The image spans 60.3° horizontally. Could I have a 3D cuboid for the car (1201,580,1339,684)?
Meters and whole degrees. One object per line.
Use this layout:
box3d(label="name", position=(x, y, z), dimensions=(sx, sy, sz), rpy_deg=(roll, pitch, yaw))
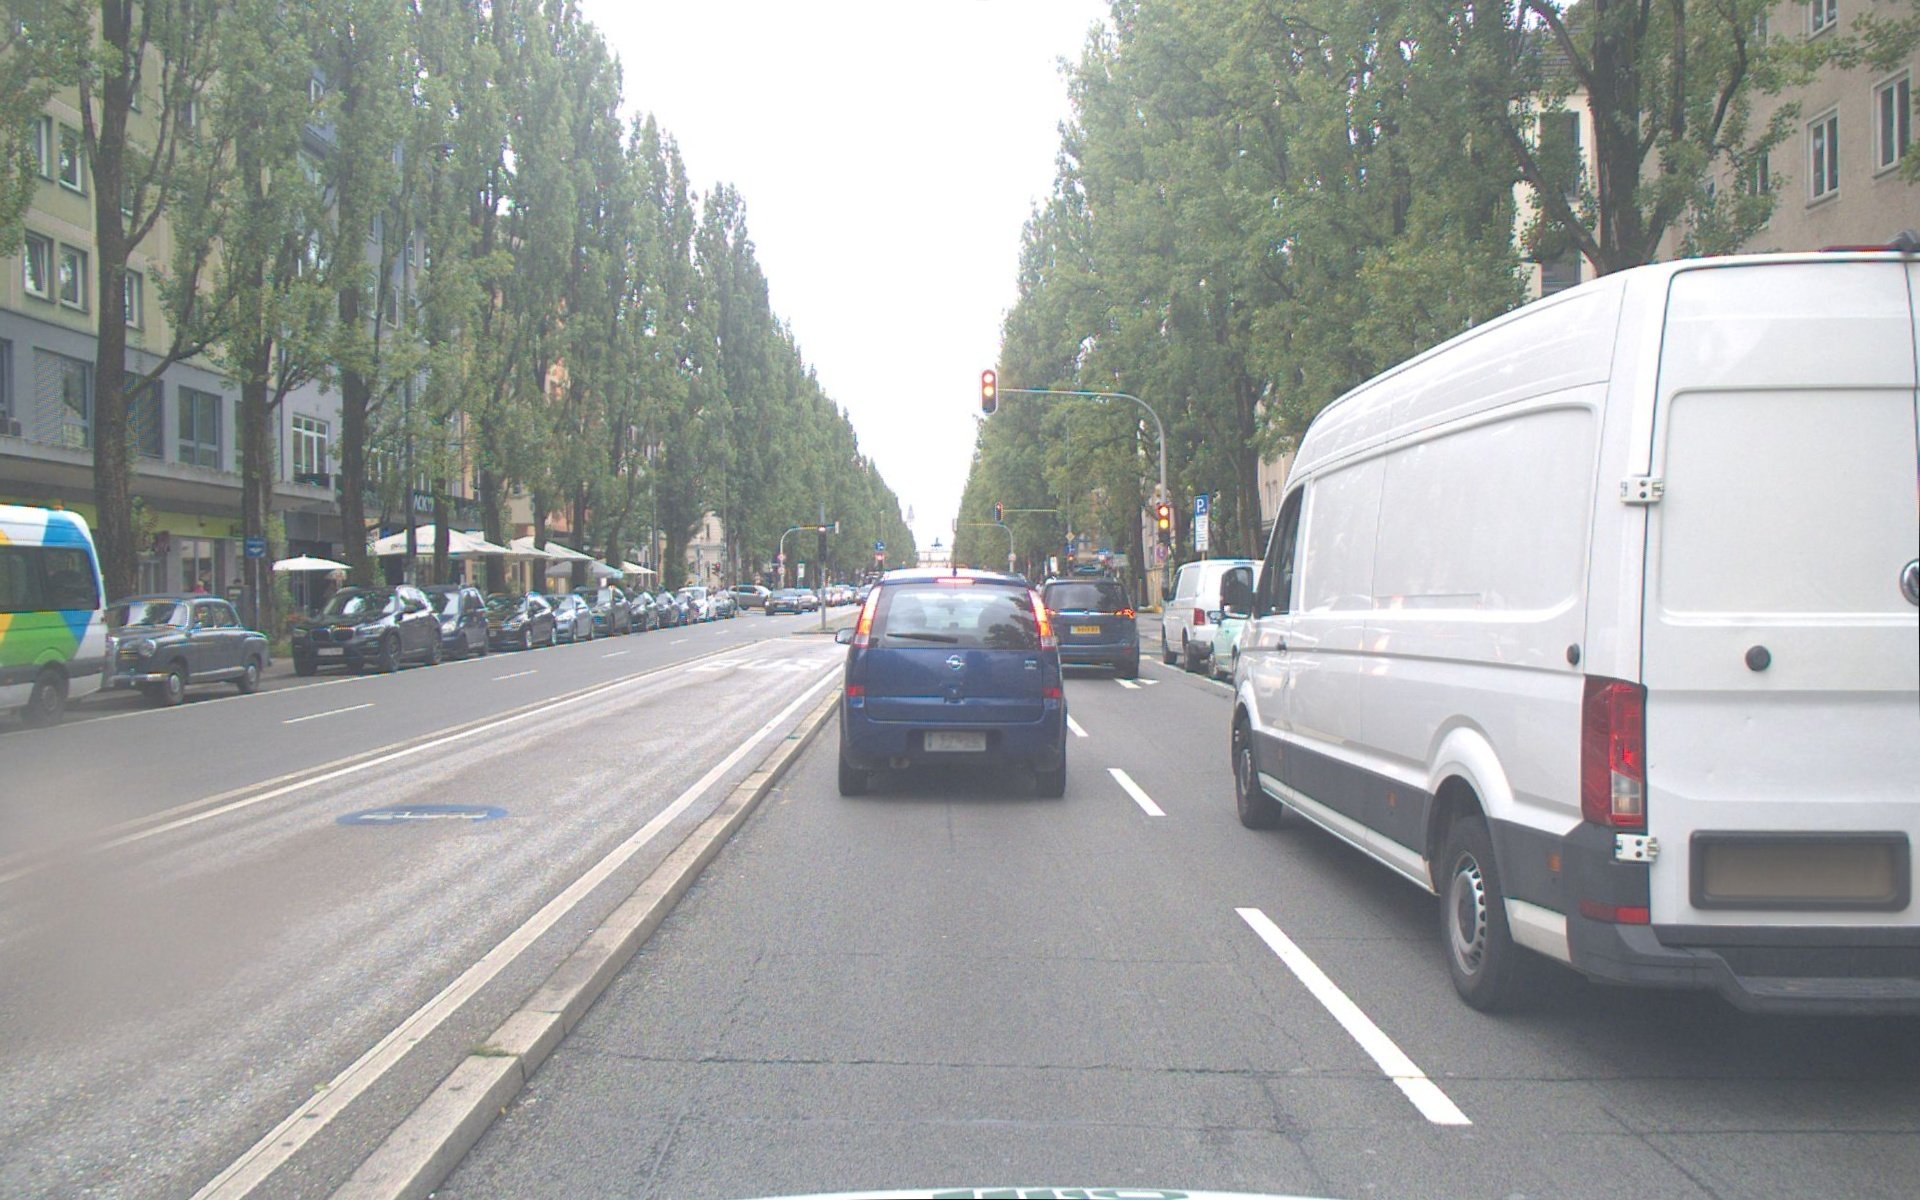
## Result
box3d(label="car", position=(4.796, 0.463, 25.996), dimensions=(1.509, 1.518, 3.523), rpy_deg=(0, 0, 0))

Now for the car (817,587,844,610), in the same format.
box3d(label="car", position=(-9.906, -0.154, 126.902), dimensions=(1.828, 1.695, 4.119), rpy_deg=(-1, 1, -1))

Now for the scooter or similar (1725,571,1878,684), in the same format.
box3d(label="scooter or similar", position=(11.329, 0.333, 22.373), dimensions=(0.624, 1.400, 2.493), rpy_deg=(-2, 2, -4))

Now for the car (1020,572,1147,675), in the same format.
box3d(label="car", position=(2.050, 0.358, 28.520), dimensions=(1.858, 1.650, 4.000), rpy_deg=(0, 1, -1))

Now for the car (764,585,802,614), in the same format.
box3d(label="car", position=(-9.908, -0.050, 92.786), dimensions=(1.663, 1.488, 4.712), rpy_deg=(-2, 1, -1))

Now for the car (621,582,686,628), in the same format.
box3d(label="car", position=(-12.232, 0.165, 66.181), dimensions=(1.828, 1.694, 4.119), rpy_deg=(-2, 1, -1))

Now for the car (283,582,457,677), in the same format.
box3d(label="car", position=(-11.690, 0.522, 33.122), dimensions=(1.828, 1.693, 4.610), rpy_deg=(-2, 1, -1))

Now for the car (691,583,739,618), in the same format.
box3d(label="car", position=(-12.469, -0.002, 84.241), dimensions=(1.828, 1.694, 4.119), rpy_deg=(-2, 1, -1))

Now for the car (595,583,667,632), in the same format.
box3d(label="car", position=(-12.160, 0.240, 61.355), dimensions=(1.828, 1.694, 4.119), rpy_deg=(-2, 1, -1))

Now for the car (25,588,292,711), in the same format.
box3d(label="car", position=(-11.775, 0.662, 24.684), dimensions=(1.828, 1.579, 4.413), rpy_deg=(-2, 1, -1))

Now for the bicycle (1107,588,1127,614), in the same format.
box3d(label="bicycle", position=(8.346, 0.052, 87.884), dimensions=(0.757, 1.372, 2.449), rpy_deg=(-1, 0, -1))

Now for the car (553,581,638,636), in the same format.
box3d(label="car", position=(-12.062, 0.245, 55.000), dimensions=(1.828, 1.694, 4.400), rpy_deg=(-2, 1, -1))

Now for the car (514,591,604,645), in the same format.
box3d(label="car", position=(-11.916, 0.496, 49.377), dimensions=(1.698, 1.450, 4.143), rpy_deg=(-2, 1, -1))

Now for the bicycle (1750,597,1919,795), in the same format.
box3d(label="bicycle", position=(7.143, 0.675, 12.887), dimensions=(0.757, 1.372, 2.449), rpy_deg=(-1, 0, -1))

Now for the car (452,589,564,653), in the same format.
box3d(label="car", position=(-11.862, 0.514, 43.713), dimensions=(1.762, 1.514, 4.350), rpy_deg=(-2, 1, -1))

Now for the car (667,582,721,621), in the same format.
box3d(label="car", position=(-12.361, 0.062, 76.967), dimensions=(1.828, 1.694, 4.119), rpy_deg=(-2, 1, -1))

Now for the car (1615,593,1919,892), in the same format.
box3d(label="car", position=(5.380, 0.688, 8.949), dimensions=(1.676, 1.418, 4.339), rpy_deg=(0, 1, -5))

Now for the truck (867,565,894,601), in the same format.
box3d(label="truck", position=(-7.693, -1.624, 160.734), dimensions=(2.334, 3.405, 7.110), rpy_deg=(-1, 1, -1))

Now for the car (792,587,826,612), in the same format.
box3d(label="car", position=(-9.386, -0.071, 103.044), dimensions=(1.710, 1.459, 4.129), rpy_deg=(-2, 1, -1))

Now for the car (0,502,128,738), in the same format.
box3d(label="car", position=(-11.585, 0.263, 17.586), dimensions=(1.965, 2.612, 6.911), rpy_deg=(-2, 1, -1))

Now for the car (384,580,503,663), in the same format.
box3d(label="car", position=(-11.924, 0.450, 38.396), dimensions=(1.676, 1.751, 3.919), rpy_deg=(-2, 1, -4))

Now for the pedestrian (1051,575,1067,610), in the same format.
box3d(label="pedestrian", position=(5.350, -0.402, 89.151), dimensions=(0.625, 1.859, 0.885), rpy_deg=(1, 0, -11))

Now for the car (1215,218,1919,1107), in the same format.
box3d(label="car", position=(2.809, 0.144, 8.100), dimensions=(2.021, 2.536, 6.729), rpy_deg=(0, 1, -1))

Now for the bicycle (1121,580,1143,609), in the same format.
box3d(label="bicycle", position=(8.496, -0.286, 81.764), dimensions=(0.757, 1.372, 2.449), rpy_deg=(-1, 0, -1))

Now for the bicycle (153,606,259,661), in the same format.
box3d(label="bicycle", position=(-16.291, 0.727, 35.767), dimensions=(1.909, 1.114, 0.718), rpy_deg=(2, 0, -7))

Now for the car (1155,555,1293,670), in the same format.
box3d(label="car", position=(4.839, 0.183, 30.889), dimensions=(1.751, 1.980, 4.730), rpy_deg=(0, 1, -1))

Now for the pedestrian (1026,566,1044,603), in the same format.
box3d(label="pedestrian", position=(3.823, -0.793, 84.494), dimensions=(0.707, 1.859, 0.885), rpy_deg=(1, 0, -11))

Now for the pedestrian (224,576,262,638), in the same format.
box3d(label="pedestrian", position=(-20.259, 0.196, 46.757), dimensions=(0.740, 1.715, 0.675), rpy_deg=(-1, -1, 0))

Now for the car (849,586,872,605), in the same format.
box3d(label="car", position=(-7.890, -0.365, 131.642), dimensions=(1.699, 1.491, 3.365), rpy_deg=(-1, 1, -1))

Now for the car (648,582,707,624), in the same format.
box3d(label="car", position=(-12.215, 0.094, 71.708), dimensions=(1.828, 1.694, 4.119), rpy_deg=(-2, 1, -1))

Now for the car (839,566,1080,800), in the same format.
box3d(label="car", position=(-0.023, 0.546, 13.276), dimensions=(1.637, 1.596, 4.000), rpy_deg=(0, 1, -1))
